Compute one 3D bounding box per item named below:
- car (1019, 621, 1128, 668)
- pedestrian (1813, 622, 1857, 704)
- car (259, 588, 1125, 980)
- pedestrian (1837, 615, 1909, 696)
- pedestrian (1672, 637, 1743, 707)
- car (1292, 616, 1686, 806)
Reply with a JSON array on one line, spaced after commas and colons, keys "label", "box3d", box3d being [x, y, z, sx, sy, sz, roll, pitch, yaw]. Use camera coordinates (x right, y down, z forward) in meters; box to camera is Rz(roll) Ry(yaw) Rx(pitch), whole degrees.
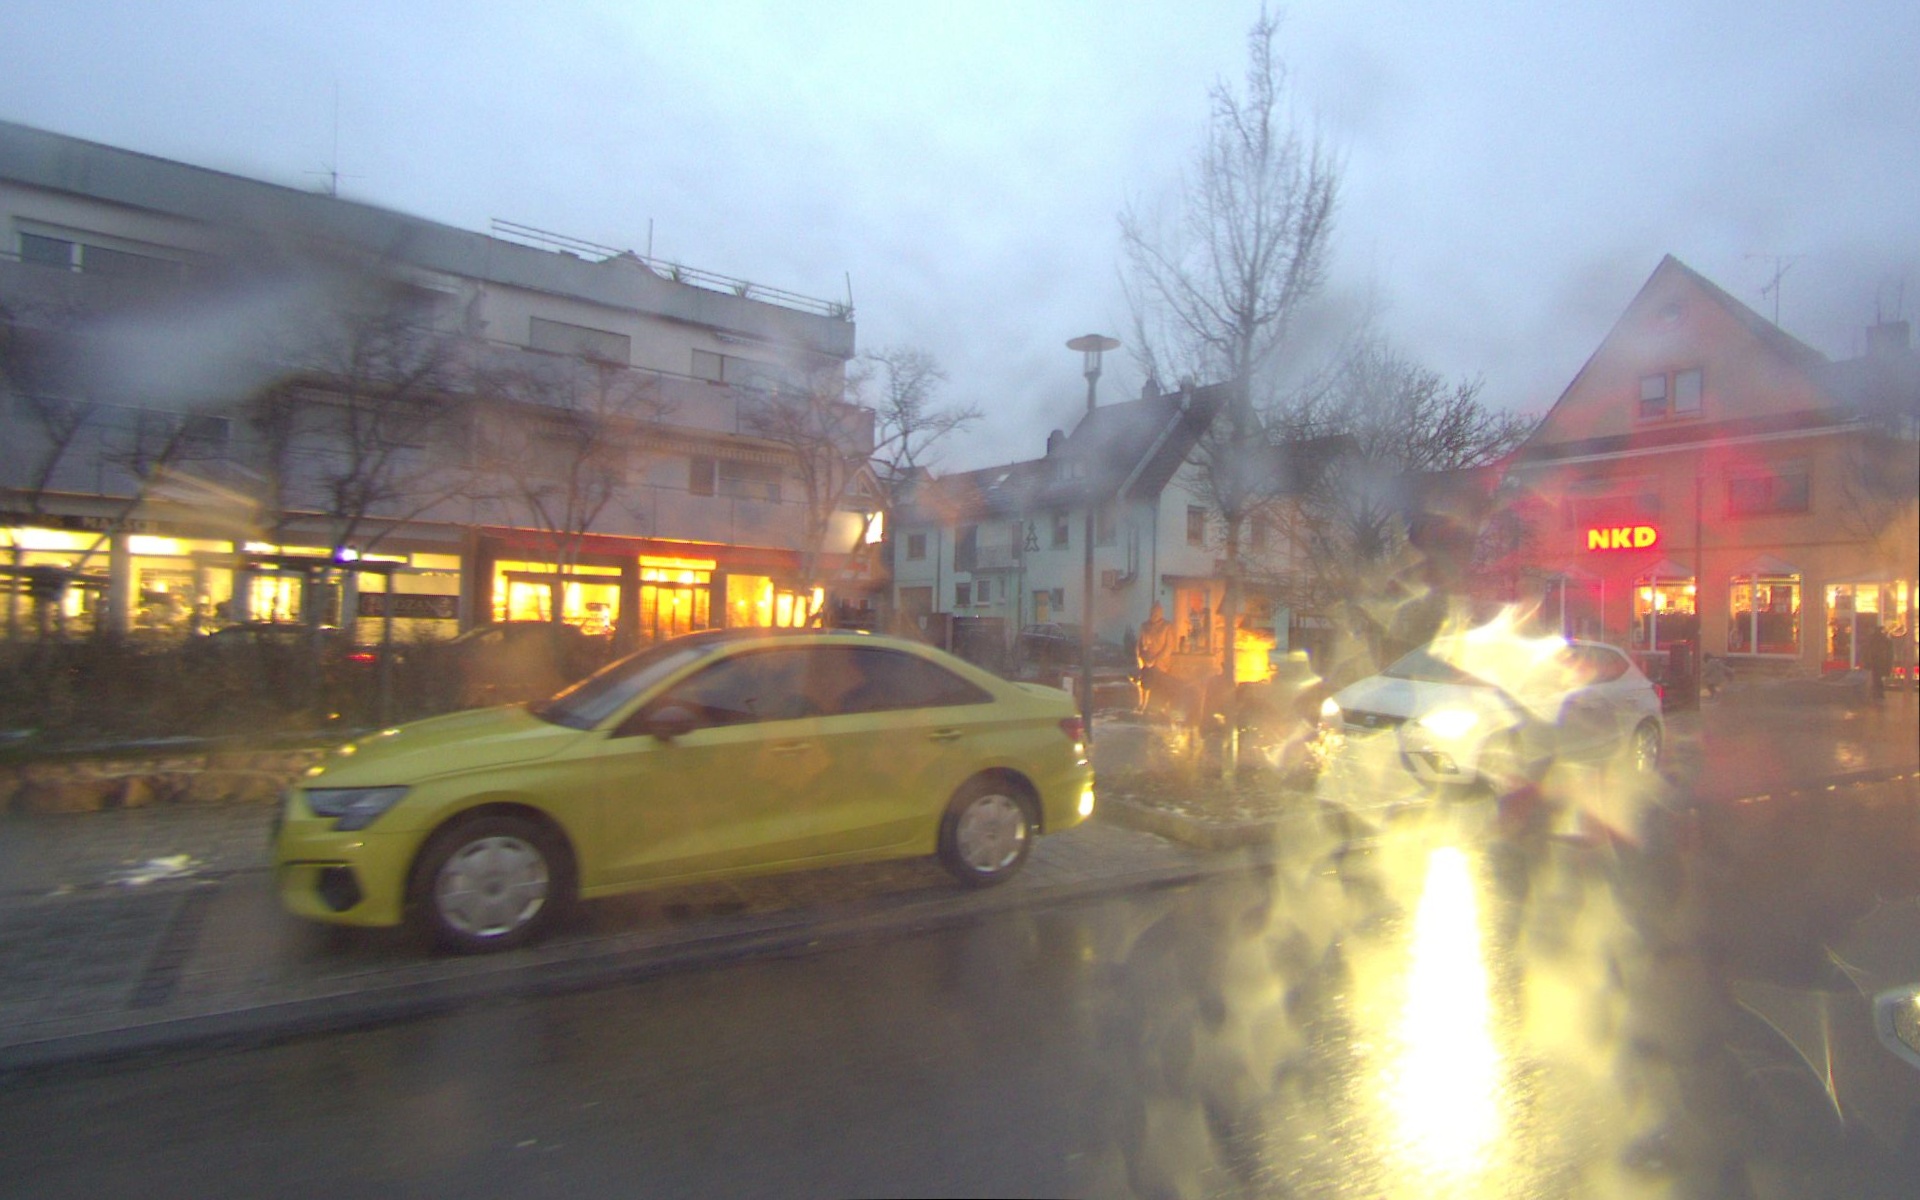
[{"label": "car", "box3d": [4.115, 1.593, 36.744, 1.604, 1.539, 3.854, 2, -1, -43]}, {"label": "pedestrian", "box3d": [19.276, 1.369, 22.130, 0.677, 1.765, 0.584, 2, -1, -36]}, {"label": "car", "box3d": [-1.301, 0.784, 5.799, 4.290, 1.536, 1.741, 2, 0, -29]}, {"label": "pedestrian", "box3d": [20.916, 1.247, 23.014, 0.950, 1.766, 0.968, 1, 1, -32]}, {"label": "pedestrian", "box3d": [16.772, 1.601, 22.544, 0.766, 1.437, 0.887, 3, 5, -25]}, {"label": "car", "box3d": [5.396, 0.999, 10.139, 3.953, 1.536, 1.661, 2, 0, -30]}]
